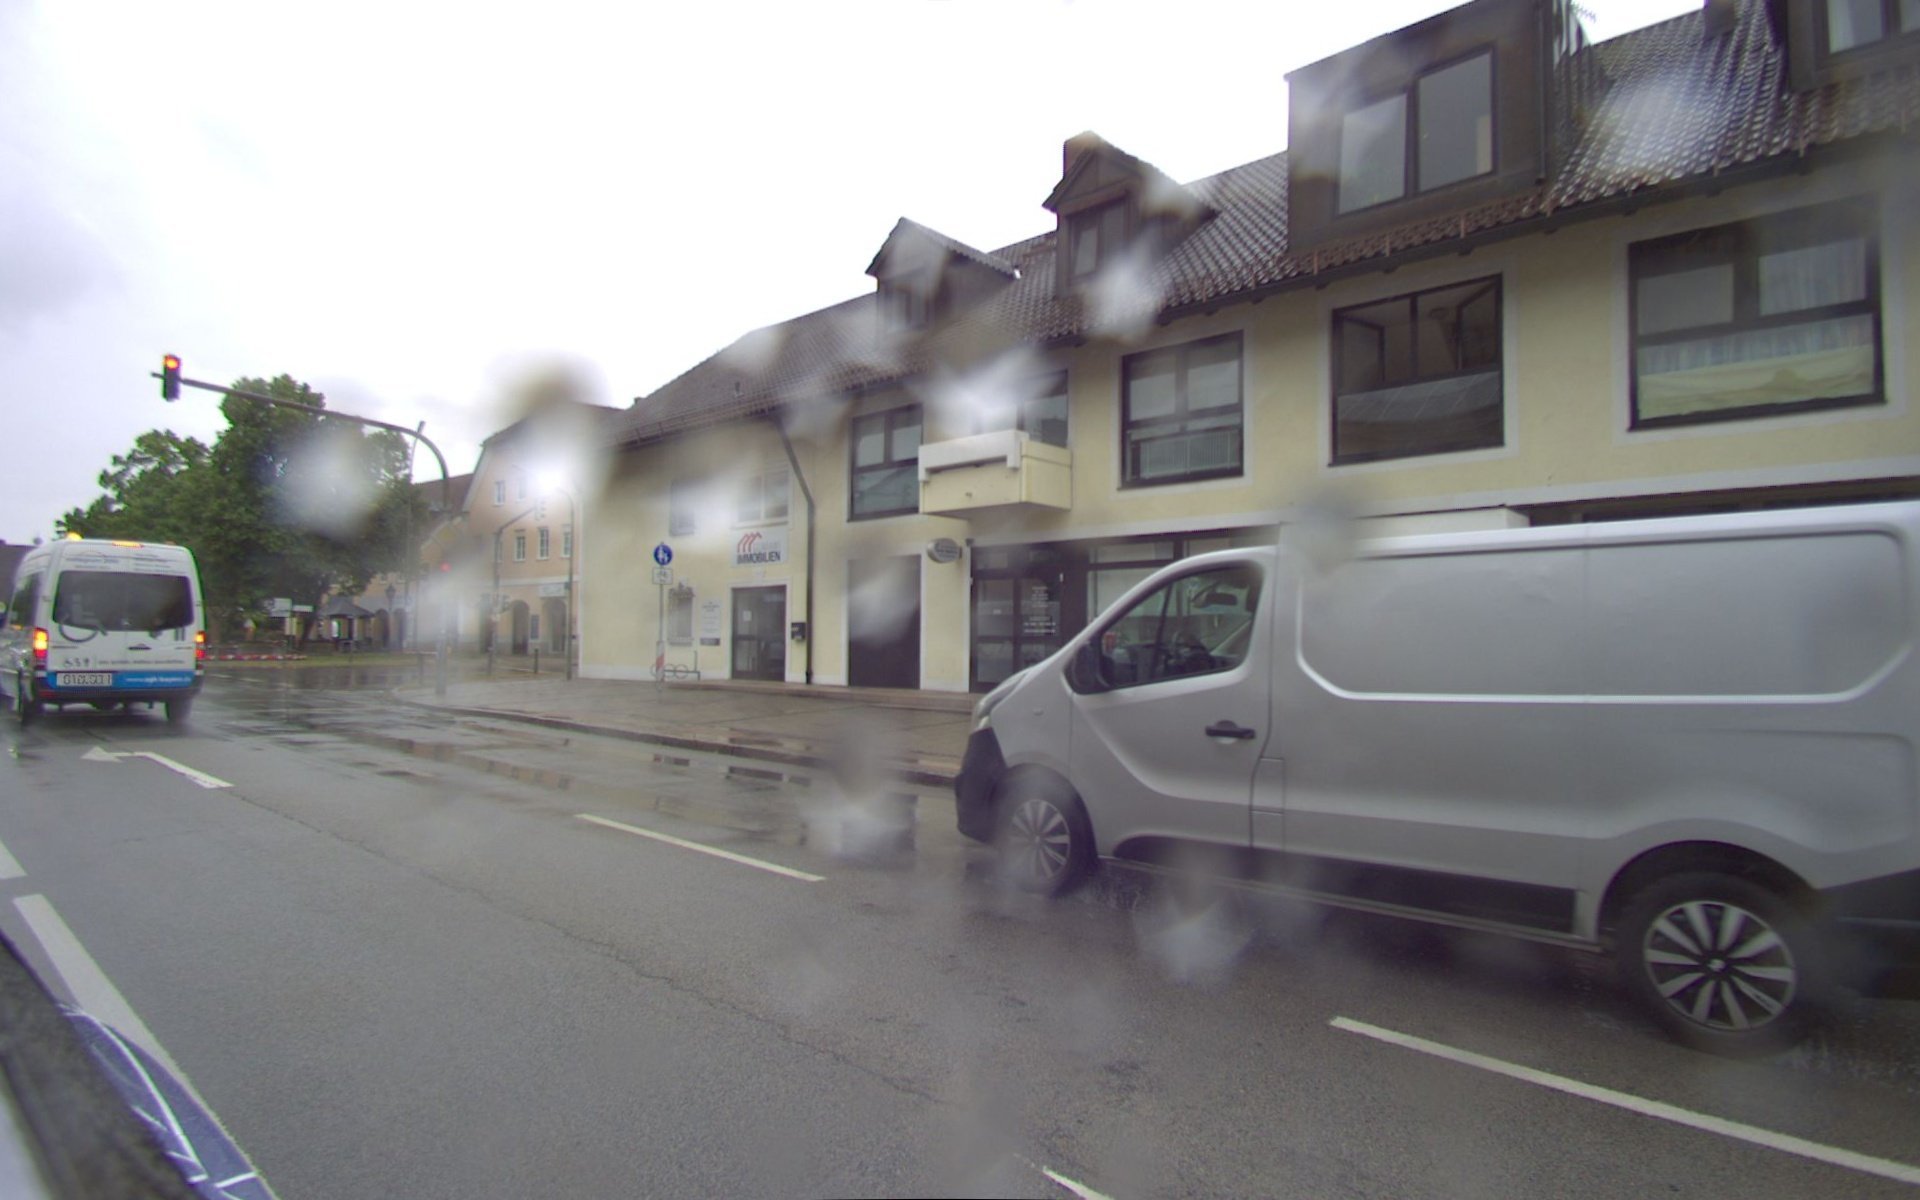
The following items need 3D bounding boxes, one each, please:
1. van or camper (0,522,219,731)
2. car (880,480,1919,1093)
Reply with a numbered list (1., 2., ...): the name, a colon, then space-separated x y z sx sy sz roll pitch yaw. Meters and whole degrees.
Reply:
1. van or camper: -13.883 0.427 16.040 6.265 2.728 2.072 -1 -3 41
2. car: 2.045 0.667 5.302 5.259 1.906 1.796 -1 -5 43
